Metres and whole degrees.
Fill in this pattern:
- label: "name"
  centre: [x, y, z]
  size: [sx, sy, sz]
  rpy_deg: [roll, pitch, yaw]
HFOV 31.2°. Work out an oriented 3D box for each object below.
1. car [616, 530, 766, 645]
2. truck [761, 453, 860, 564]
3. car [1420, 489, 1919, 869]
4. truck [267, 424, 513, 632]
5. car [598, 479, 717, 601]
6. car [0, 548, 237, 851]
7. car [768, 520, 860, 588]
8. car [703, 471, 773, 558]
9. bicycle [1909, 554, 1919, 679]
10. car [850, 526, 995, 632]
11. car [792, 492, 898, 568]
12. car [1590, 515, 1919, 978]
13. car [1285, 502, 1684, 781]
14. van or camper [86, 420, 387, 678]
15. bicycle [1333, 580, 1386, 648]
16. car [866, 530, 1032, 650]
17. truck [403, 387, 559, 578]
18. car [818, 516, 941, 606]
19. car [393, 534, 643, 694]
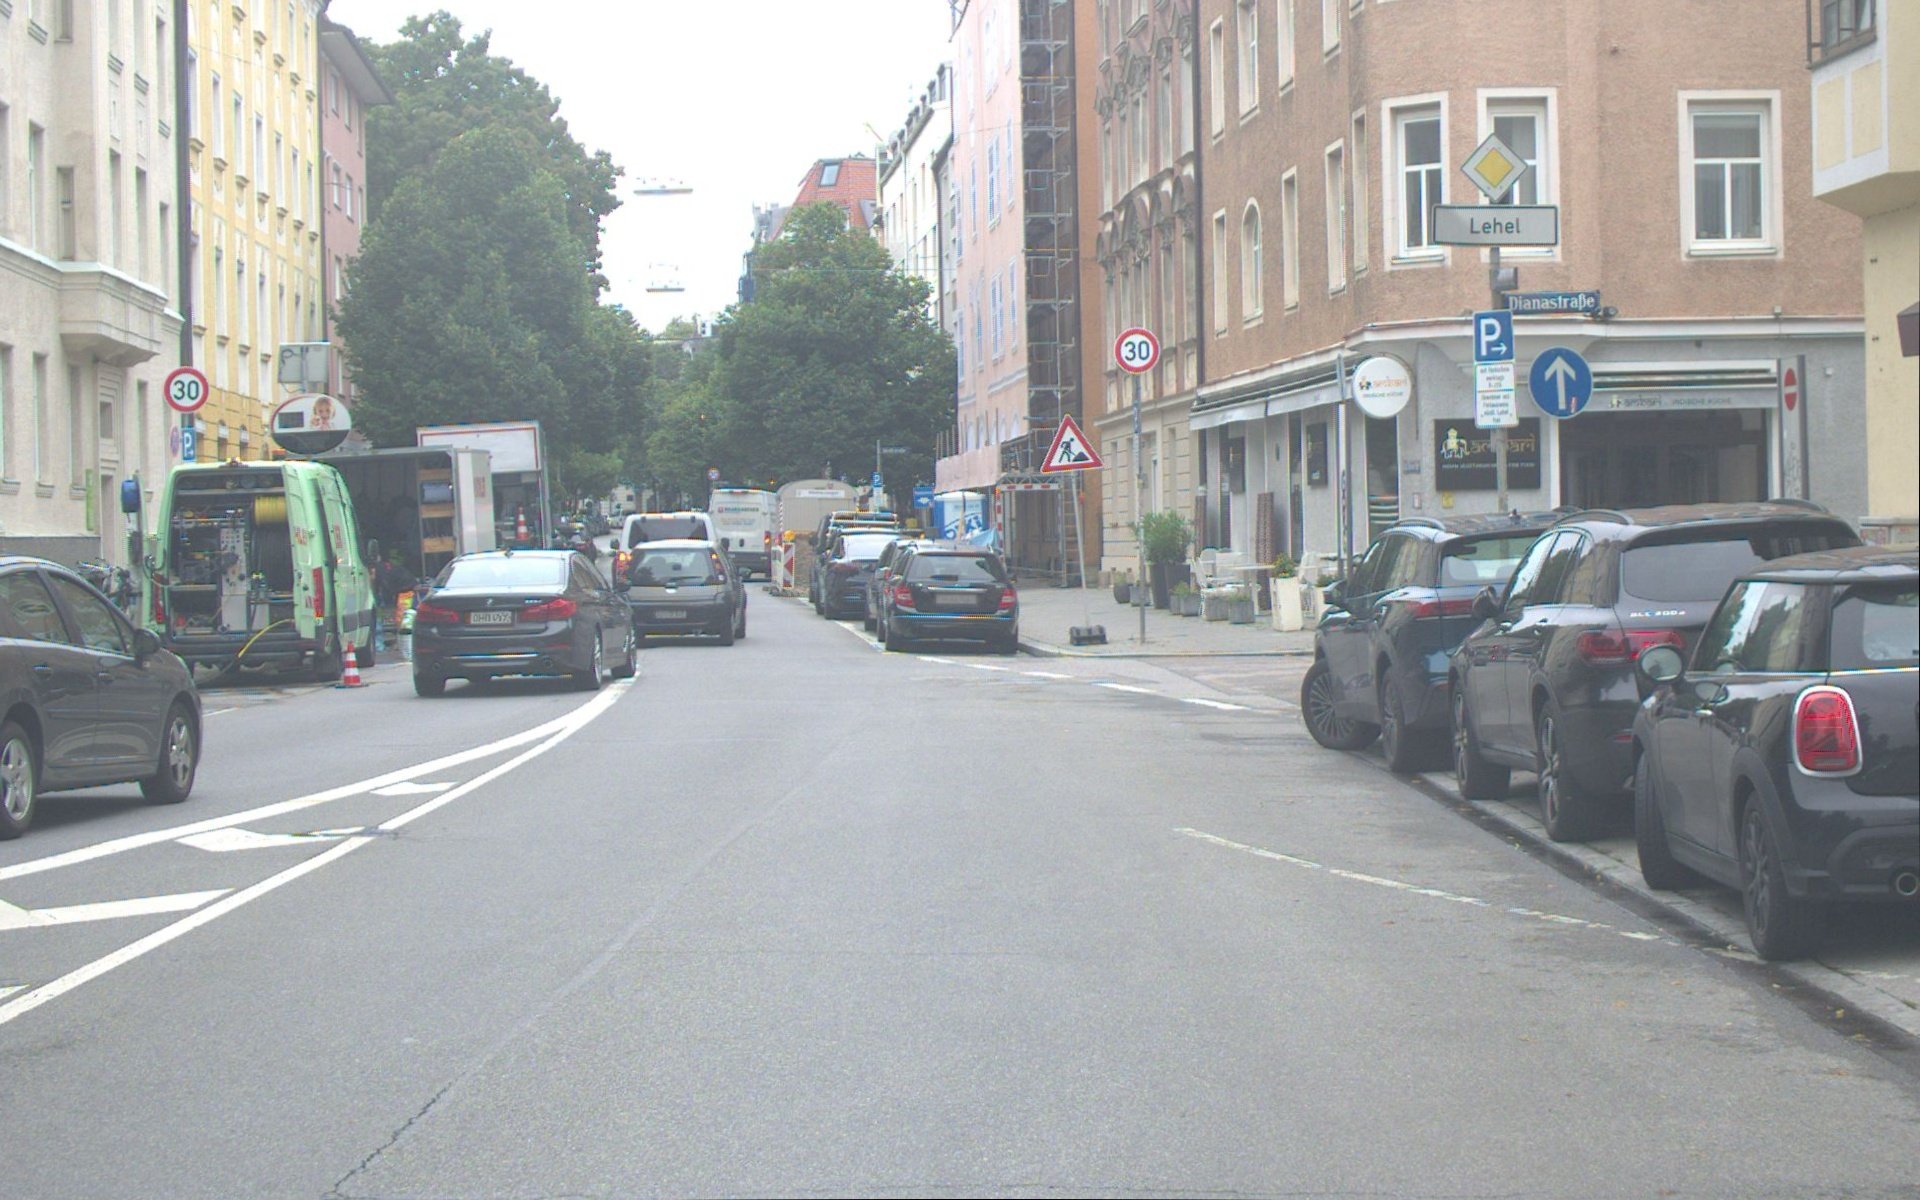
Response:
- label: "car"
  centre: [-3.748, -0.208, 48.391]
  size: [1.990, 1.424, 4.141]
  rpy_deg: [-1, 2, -3]
- label: "truck"
  centre: [-4.169, -2.522, 95.065]
  size: [2.491, 2.963, 5.329]
  rpy_deg: [-1, 1, -5]
- label: "car"
  centre: [3.652, 0.303, 18.085]
  size: [1.756, 1.673, 4.707]
  rpy_deg: [-2, 1, 0]
- label: "truck"
  centre: [-8.450, -1.154, 51.792]
  size: [2.773, 2.863, 7.203]
  rpy_deg: [-1, 2, -3]
- label: "car"
  centre: [-5.444, -1.126, 62.209]
  size: [1.990, 2.068, 4.141]
  rpy_deg: [-1, 2, -3]
- label: "car"
  centre: [-5.465, 0.479, 18.938]
  size: [1.759, 1.456, 4.074]
  rpy_deg: [-1, 1, 5]
- label: "car"
  centre: [-3.375, -1.074, 78.756]
  size: [1.990, 1.424, 4.141]
  rpy_deg: [-1, 2, -3]
- label: "car"
  centre: [-6.483, -2.516, 100.828]
  size: [1.939, 2.471, 4.783]
  rpy_deg: [-1, 1, -2]
- label: "bicycle"
  centre: [7.635, 0.144, 26.133]
  size: [0.271, 0.974, 1.685]
  rpy_deg: [0, 1, -3]
- label: "car"
  centre: [-0.616, -0.357, 52.597]
  size: [1.844, 1.424, 4.141]
  rpy_deg: [2, 2, -5]
- label: "car"
  centre: [-2.344, -1.430, 69.111]
  size: [1.990, 1.424, 4.141]
  rpy_deg: [-1, 2, -3]
- label: "car"
  centre: [3.637, 0.441, 13.427]
  size: [1.757, 1.491, 3.823]
  rpy_deg: [-2, 1, 3]
- label: "car"
  centre: [3.498, 0.208, 23.766]
  size: [1.818, 1.673, 4.511]
  rpy_deg: [-2, 1, -3]
- label: "van or camper"
  centre: [-8.567, -0.696, 41.377]
  size: [2.600, 2.830, 6.187]
  rpy_deg: [-1, 2, -3]
- label: "bicycle"
  centre: [4.912, 0.166, 42.261]
  size: [0.456, 0.802, 1.327]
  rpy_deg: [0, 1, -2]
- label: "car"
  centre: [-0.199, -0.172, 46.642]
  size: [1.844, 1.424, 4.185]
  rpy_deg: [2, 2, -5]
- label: "truck"
  centre: [-10.337, -2.528, 74.782]
  size: [3.012, 3.938, 6.997]
  rpy_deg: [-1, 1, -5]
- label: "car"
  centre: [-1.465, -0.721, 61.230]
  size: [1.844, 1.424, 4.308]
  rpy_deg: [2, 2, -5]
- label: "car"
  centre: [-4.558, 0.094, 36.155]
  size: [1.990, 1.424, 4.906]
  rpy_deg: [-1, 2, 0]
